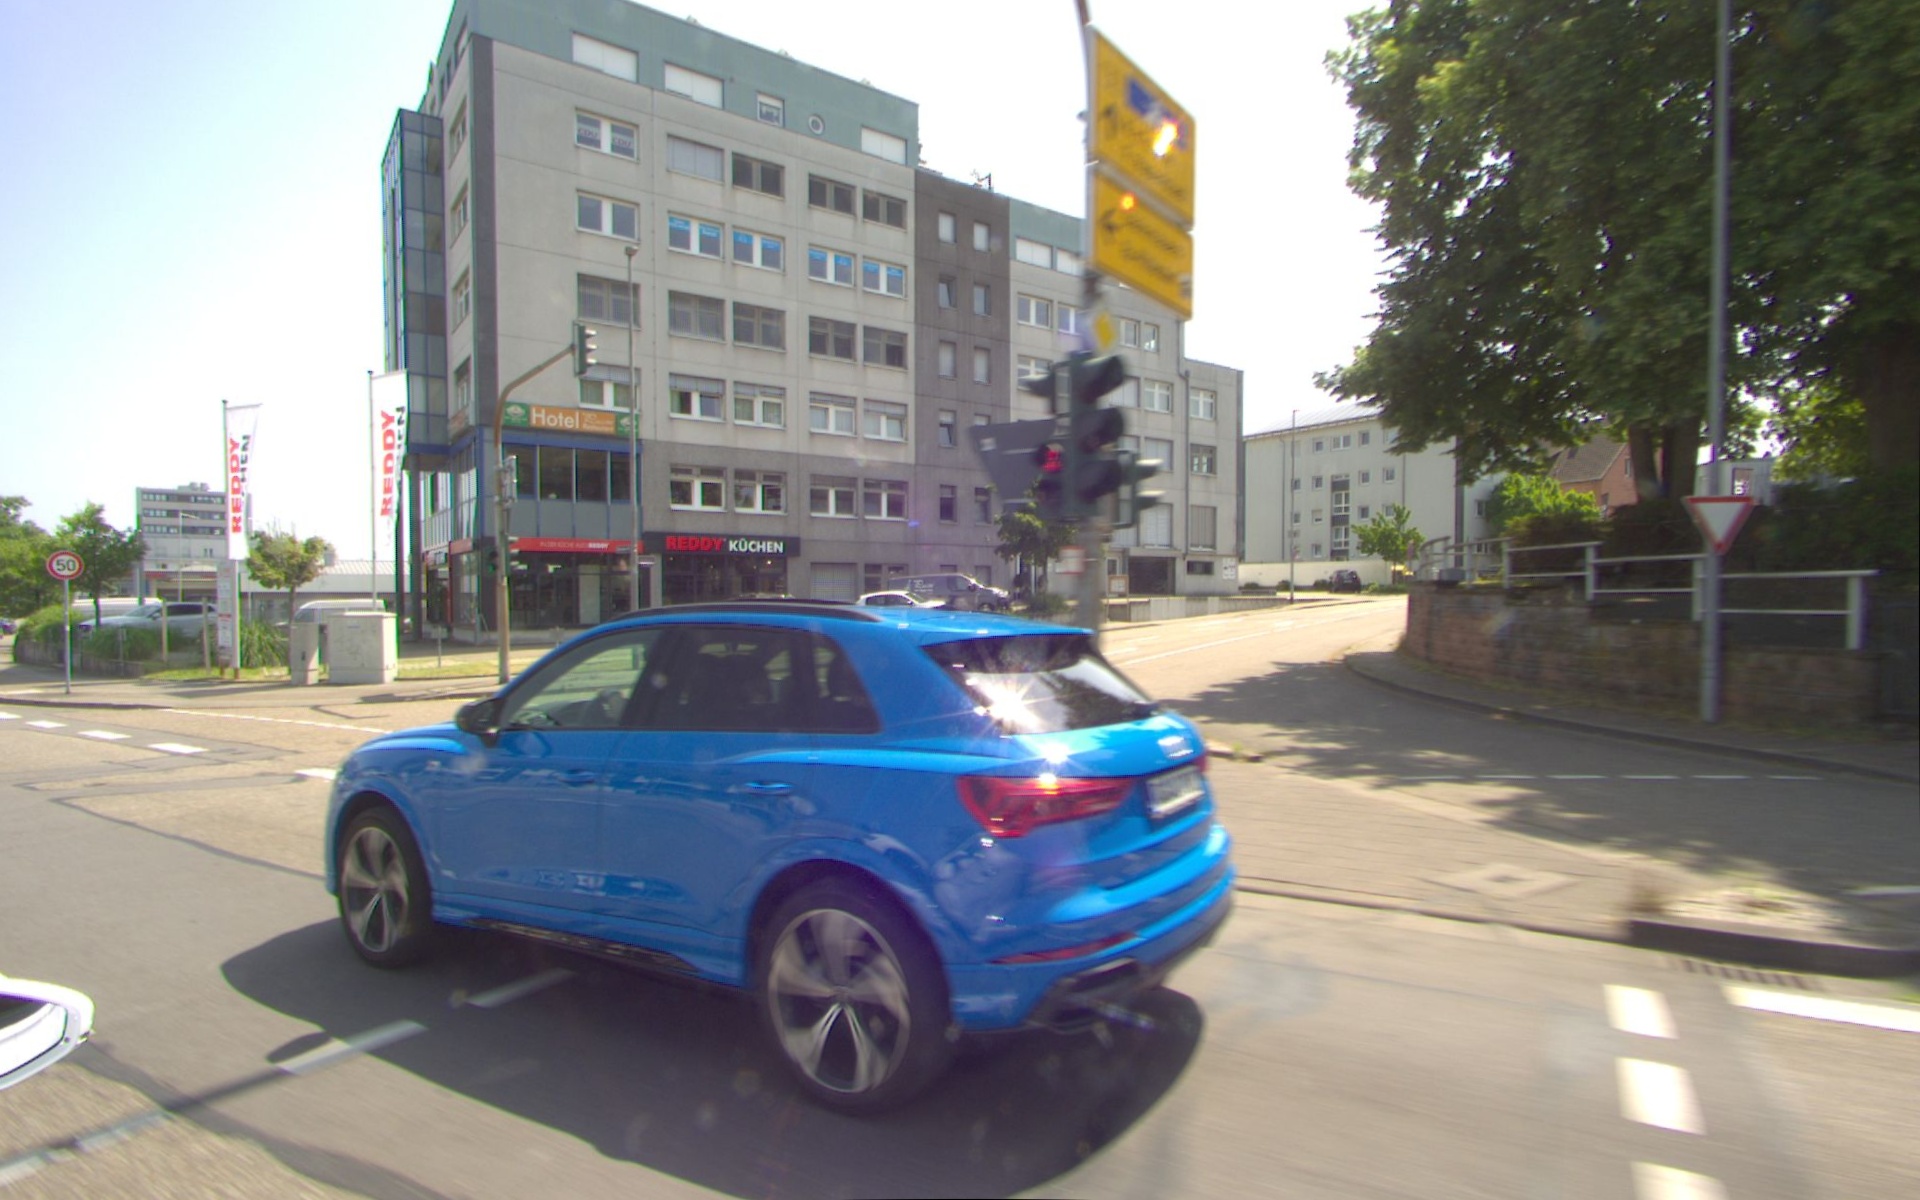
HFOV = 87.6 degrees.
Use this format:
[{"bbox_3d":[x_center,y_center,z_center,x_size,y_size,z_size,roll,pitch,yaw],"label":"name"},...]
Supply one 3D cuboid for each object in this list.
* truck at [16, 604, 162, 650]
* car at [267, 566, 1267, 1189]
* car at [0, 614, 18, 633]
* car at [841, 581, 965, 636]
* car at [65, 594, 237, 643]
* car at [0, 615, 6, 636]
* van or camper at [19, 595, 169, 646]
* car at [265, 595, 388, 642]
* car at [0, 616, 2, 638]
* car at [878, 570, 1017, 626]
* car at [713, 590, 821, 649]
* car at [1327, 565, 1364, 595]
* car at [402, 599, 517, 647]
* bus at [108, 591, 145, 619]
[{"bbox_3d":[-49.884,1.479,57.588,6.193,2.368,2.348,-2,2,-39],"label":"truck"},{"bbox_3d":[-1.031,0.764,4.554,4.331,1.618,1.910,-1,-1,31],"label":"car"},{"bbox_3d":[-81.692,1.977,85.525,1.701,1.569,4.746,-1,1,-42],"label":"car"},{"bbox_3d":[-2.060,0.326,36.298,4.147,1.551,1.544,-5,-3,10],"label":"car"},{"bbox_3d":[-30.708,0.754,38.187,1.967,1.735,4.728,-1,-2,24],"label":"car"},{"bbox_3d":[-74.466,1.953,76.768,1.842,1.501,5.106,0,0,-43],"label":"car"},{"bbox_3d":[-52.676,1.183,61.130,6.744,2.937,2.255,-1,1,-41],"label":"van or camper"},{"bbox_3d":[-36.280,1.113,57.451,5.836,2.560,2.104,1,-2,-38],"label":"car"},{"bbox_3d":[-70.684,2.014,72.212,1.945,1.551,5.116,-3,2,-40],"label":"car"},{"bbox_3d":[-0.437,-0.055,38.696,5.093,2.062,1.891,0,-2,11],"label":"car"},{"bbox_3d":[-6.061,0.600,31.077,1.525,1.697,4.296,0,-1,-38],"label":"car"},{"bbox_3d":[24.720,-1.273,64.298,1.846,1.683,3.997,-1,-2,16],"label":"car"},{"bbox_3d":[-30.704,1.450,61.547,6.067,2.845,1.984,1,-2,-39],"label":"car"},{"bbox_3d":[-104.287,0.550,125.432,2.779,3.120,12.190,0,1,-36],"label":"bus"}]
